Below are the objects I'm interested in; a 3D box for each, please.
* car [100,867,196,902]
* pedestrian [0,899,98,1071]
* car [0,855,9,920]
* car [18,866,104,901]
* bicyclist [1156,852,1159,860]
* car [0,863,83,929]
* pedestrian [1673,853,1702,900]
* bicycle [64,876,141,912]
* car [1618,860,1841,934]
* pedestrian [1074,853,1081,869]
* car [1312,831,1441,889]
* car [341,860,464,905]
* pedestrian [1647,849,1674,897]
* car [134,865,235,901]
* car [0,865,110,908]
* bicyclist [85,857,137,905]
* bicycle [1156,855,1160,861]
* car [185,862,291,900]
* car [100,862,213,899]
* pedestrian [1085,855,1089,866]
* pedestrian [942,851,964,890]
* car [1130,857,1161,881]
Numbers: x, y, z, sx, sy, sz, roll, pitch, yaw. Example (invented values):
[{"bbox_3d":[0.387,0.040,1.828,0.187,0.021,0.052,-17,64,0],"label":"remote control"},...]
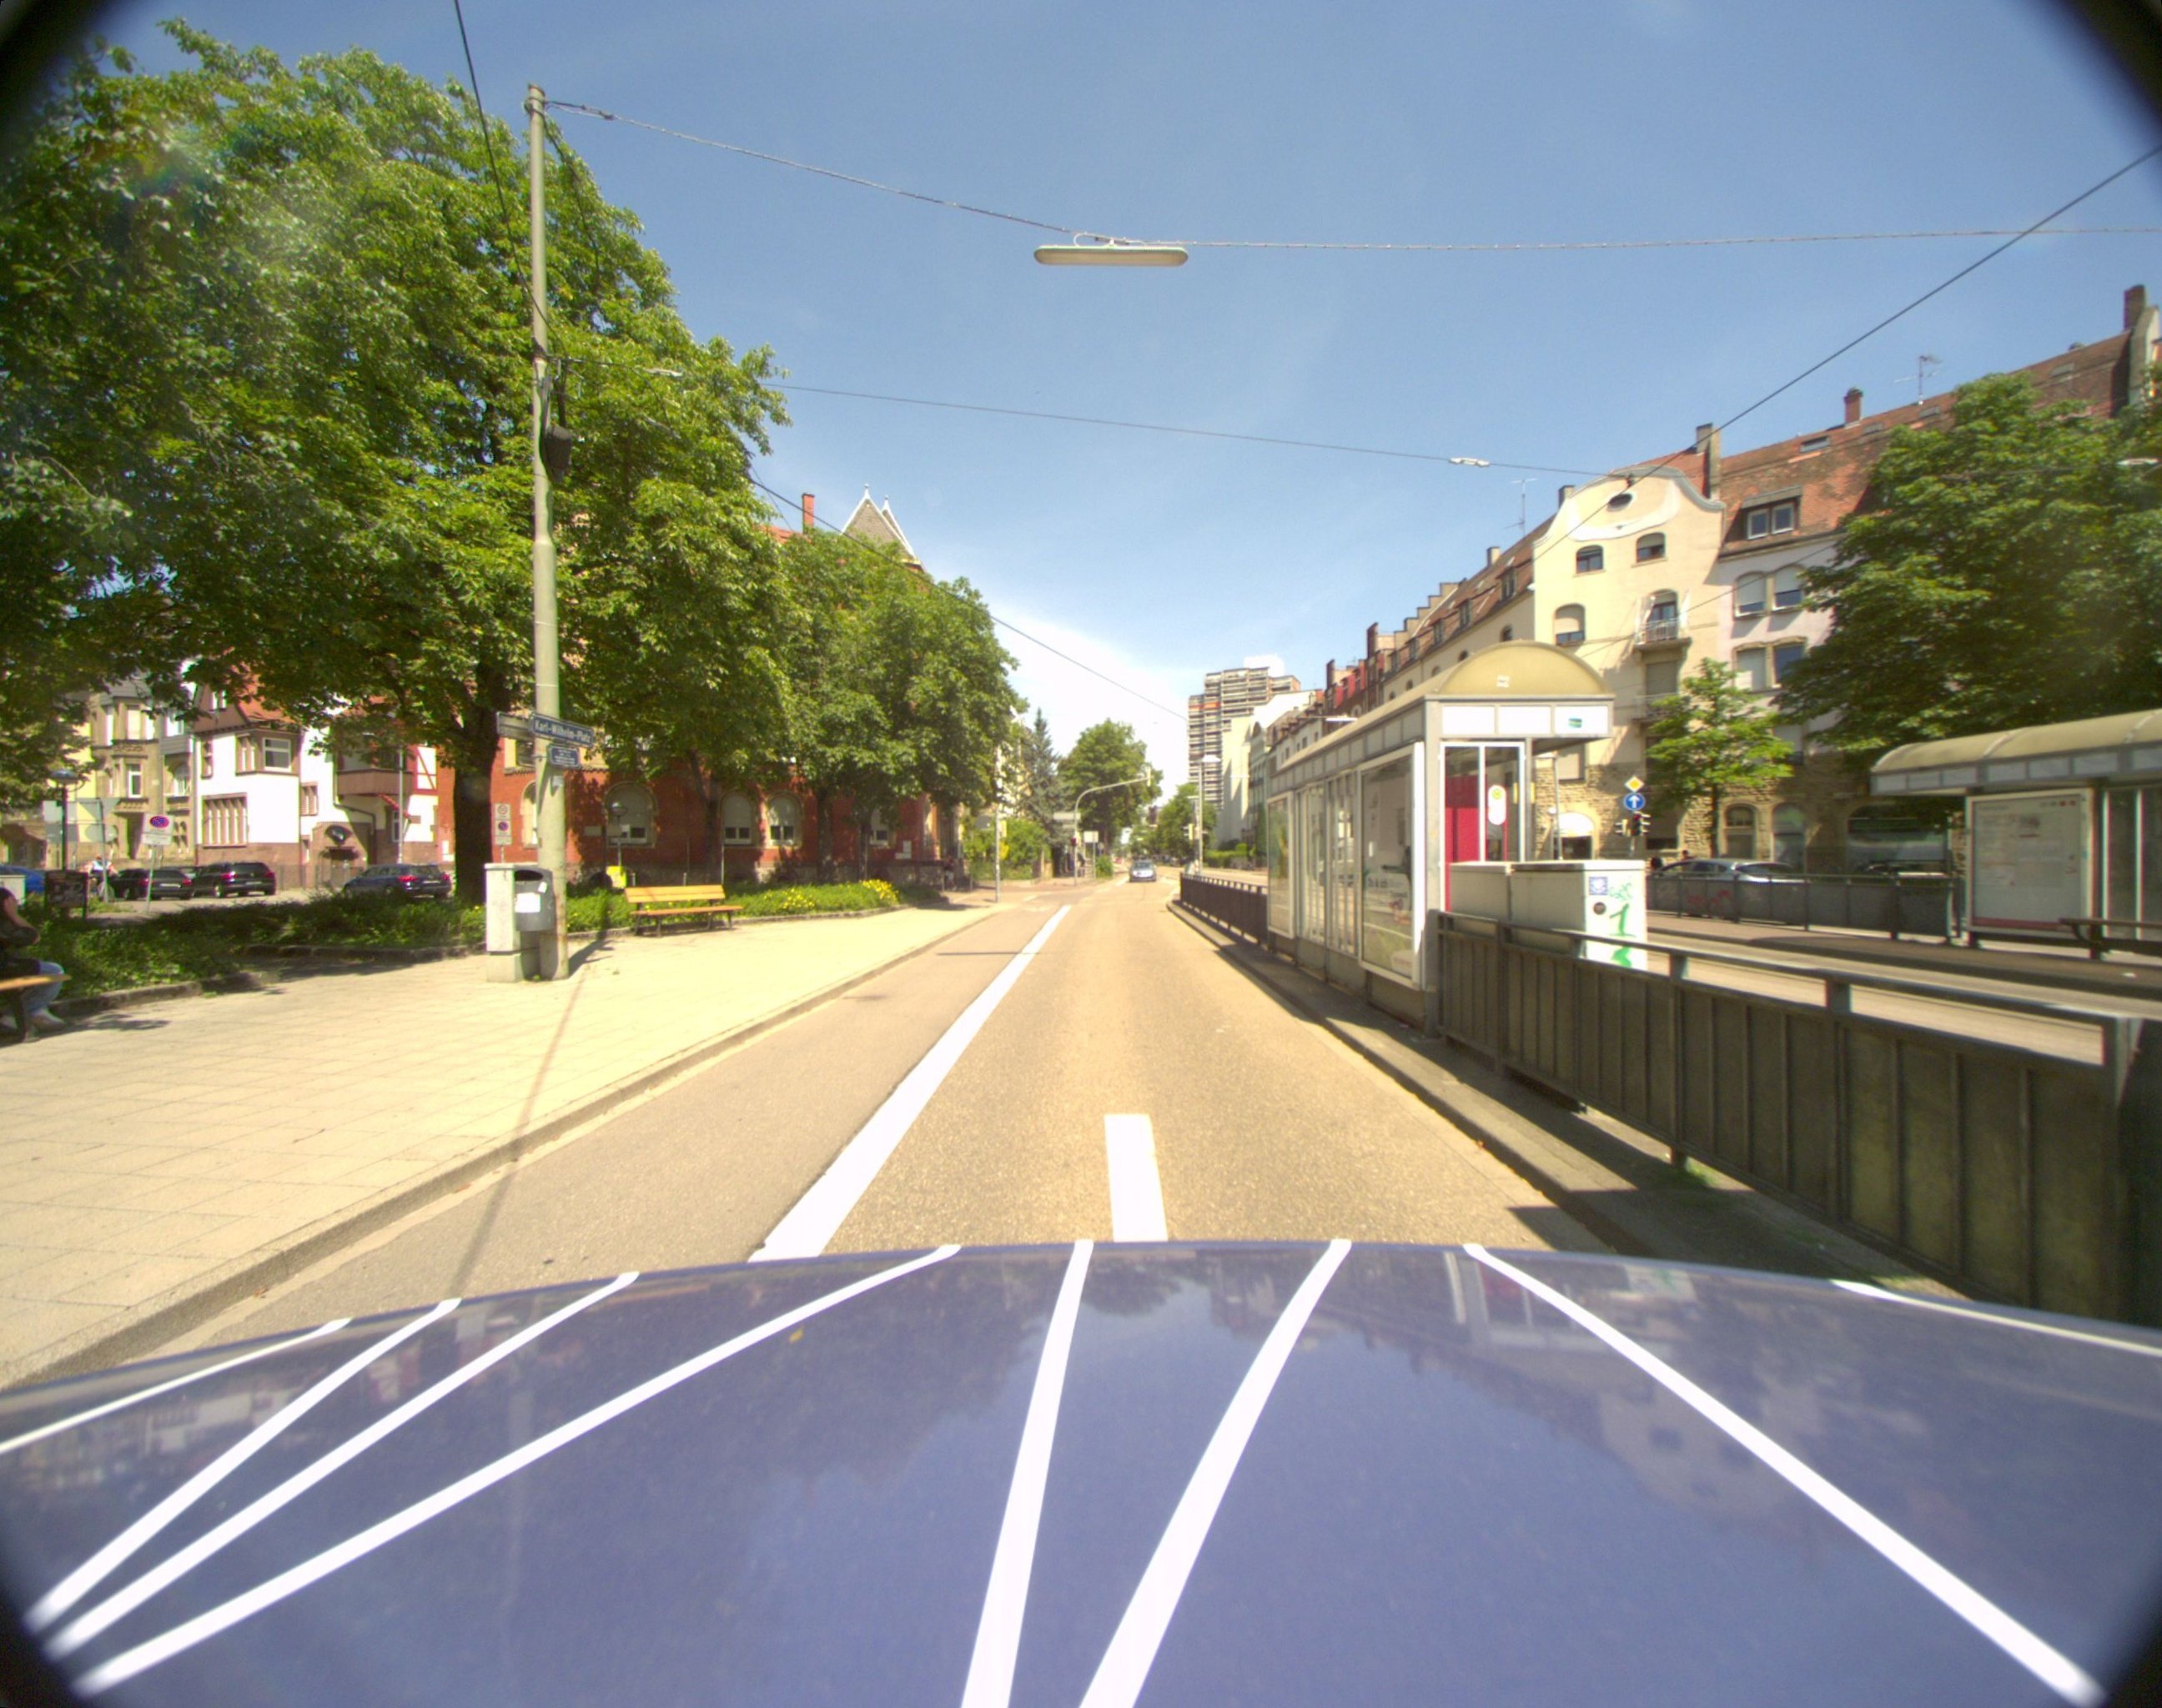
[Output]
[{"bbox_3d":[-48.420,1.573,39.434,4.299,1.608,1.941,-2,1,23],"label":"car"},{"bbox_3d":[-7.741,0.911,5.417,0.566,1.136,0.725,0,1,-16],"label":"pedestrian"},{"bbox_3d":[-37.657,1.201,23.794,1.934,2.178,4.315,-2,1,23],"label":"car"},{"bbox_3d":[-59.175,1.711,44.079,4.299,1.862,1.941,-2,1,23],"label":"car"},{"bbox_3d":[17.980,0.445,178.394,0.644,1.864,0.716,-2,1,-2],"label":"bicyclist"},{"bbox_3d":[-32.841,1.301,22.026,1.934,1.869,4.315,-2,1,23],"label":"car"},{"bbox_3d":[20.290,0.750,25.424,0.594,1.542,0.474,0,0,-1],"label":"pedestrian"},{"bbox_3d":[-36.909,1.499,28.646,3.736,1.256,0.957,-2,1,26],"label":"bicycle"},{"bbox_3d":[14.840,0.907,17.725,1.812,1.386,3.999,-2,1,1],"label":"car"},{"bbox_3d":[-0.362,0.719,76.620,0.702,1.645,0.665,0,0,1],"label":"pedestrian"},{"bbox_3d":[14.884,0.300,38.664,2.278,2.658,5.814,-3,1,-32],"label":"car"},{"bbox_3d":[-27.041,1.133,30.286,4.299,1.608,1.941,-2,1,23],"label":"car"},{"bbox_3d":[20.137,0.647,26.408,0.594,1.637,0.474,0,0,1],"label":"pedestrian"},{"bbox_3d":[-44.147,1.432,37.412,4.299,1.608,1.941,-2,1,23],"label":"car"},{"bbox_3d":[-42.640,1.355,31.479,4.514,1.608,1.941,-2,1,25],"label":"car"},{"bbox_3d":[-35.961,0.995,28.183,1.251,1.686,0.876,-2,1,26],"label":"bicyclist"},{"bbox_3d":[18.008,0.941,178.411,0.644,1.503,1.970,-2,1,-2],"label":"bicycle"},{"bbox_3d":[-39.587,1.276,35.666,4.299,1.608,1.941,-2,1,23],"label":"car"},{"bbox_3d":[-40.606,1.170,33.362,5.023,1.474,1.941,-2,1,25],"label":"car"},{"bbox_3d":[0.979,1.110,122.640,0.686,1.732,0.660,-2,1,3],"label":"pedestrian"},{"bbox_3d":[-6.103,0.785,36.254,0.840,1.813,0.672,-1,1,-35],"label":"pedestrian"},{"bbox_3d":[4.312,0.991,50.828,1.895,1.372,4.001,-2,1,5],"label":"car"}]
